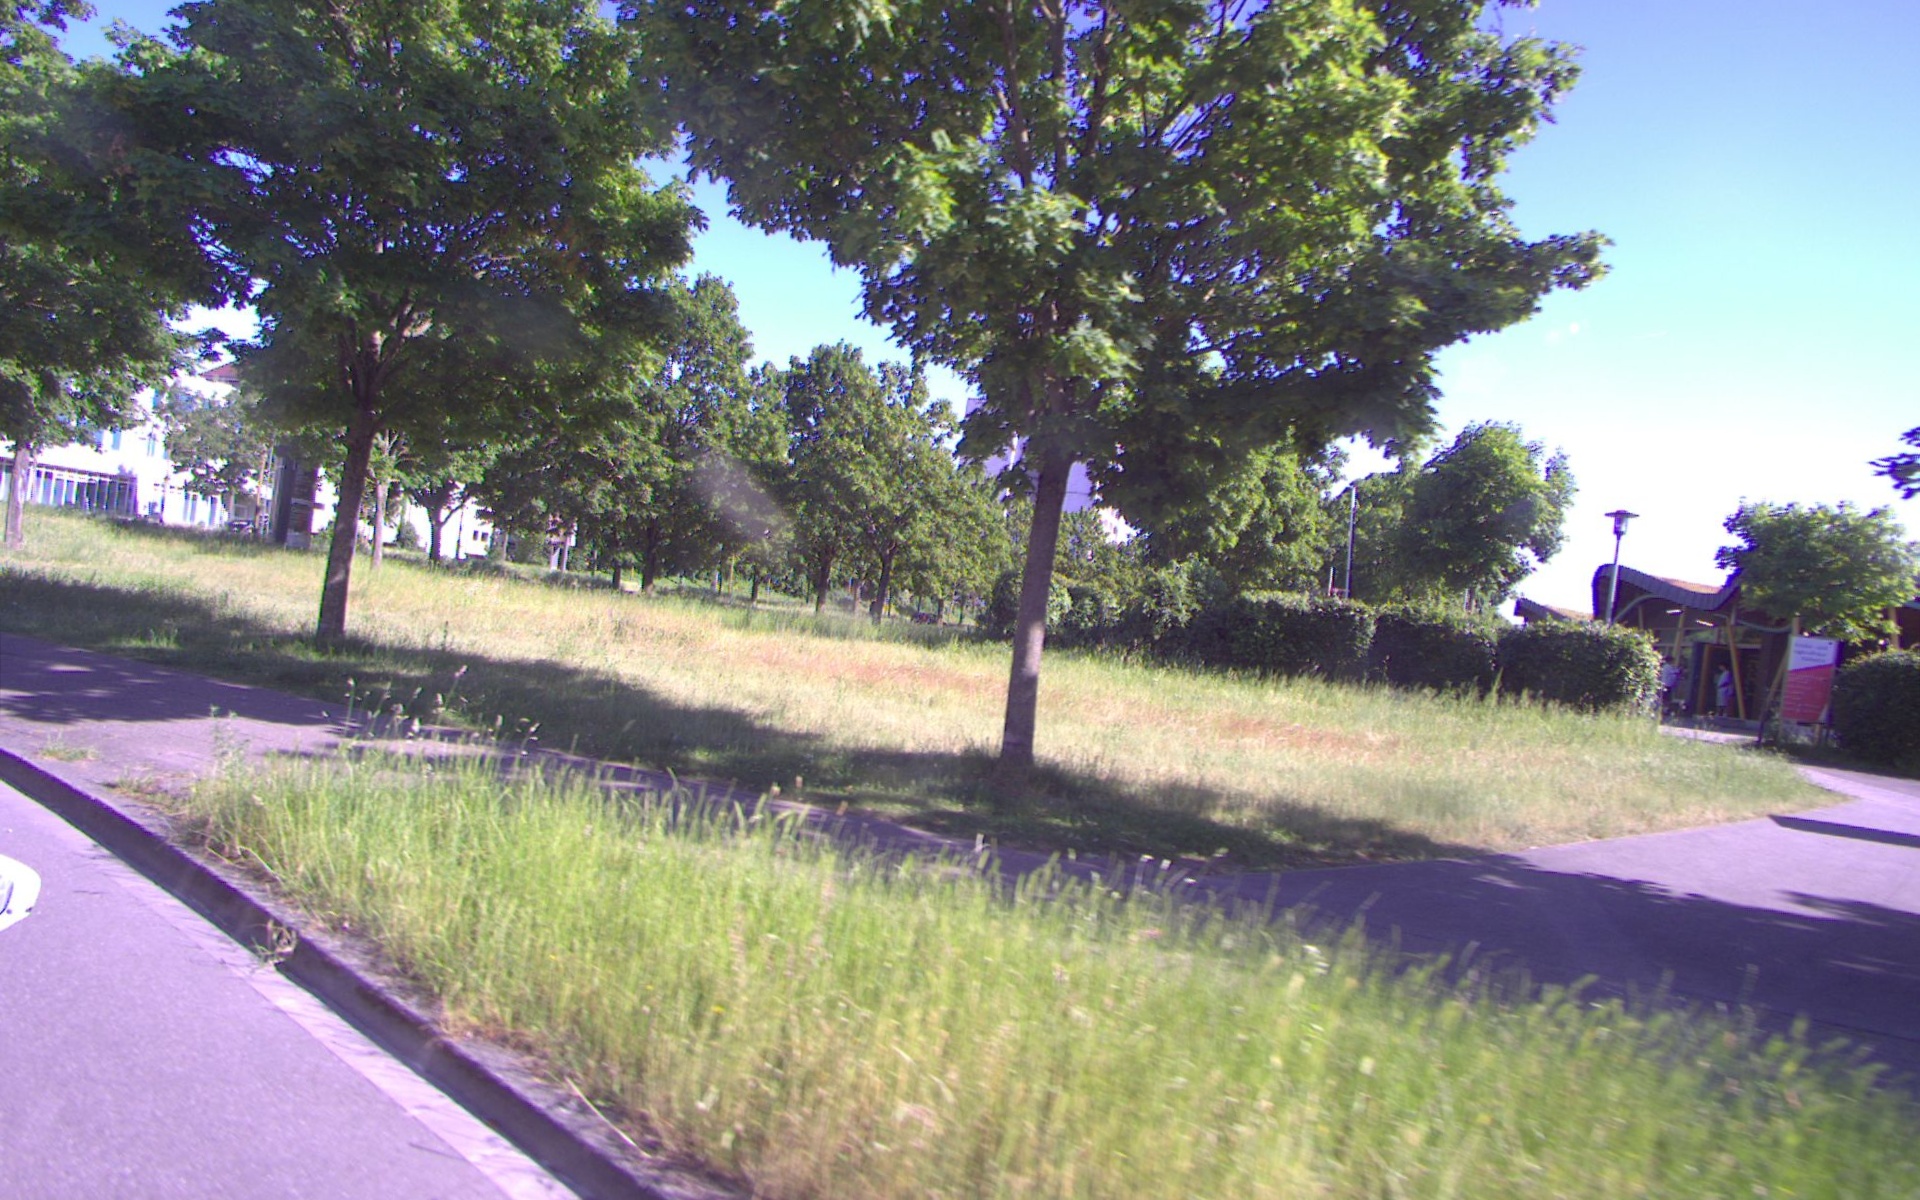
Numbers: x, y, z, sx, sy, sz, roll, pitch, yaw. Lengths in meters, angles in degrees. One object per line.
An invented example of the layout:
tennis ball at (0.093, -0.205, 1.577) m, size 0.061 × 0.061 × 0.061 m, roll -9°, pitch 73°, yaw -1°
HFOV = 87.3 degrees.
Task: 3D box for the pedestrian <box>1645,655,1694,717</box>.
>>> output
pedestrian at (22.040, 2.662, 31.275) m, size 0.846 × 1.800 × 0.813 m, roll 7°, pitch 0°, yaw 19°

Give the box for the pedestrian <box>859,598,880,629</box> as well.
pedestrian at (-5.424, 0.808, 60.479) m, size 0.726 × 1.747 × 0.888 m, roll 7°, pitch 0°, yaw 25°

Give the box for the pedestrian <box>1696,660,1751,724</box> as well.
pedestrian at (23.333, 2.794, 30.758) m, size 0.846 × 1.800 × 0.813 m, roll 7°, pitch 0°, yaw 5°

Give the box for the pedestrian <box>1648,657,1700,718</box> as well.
pedestrian at (22.797, 2.780, 32.122) m, size 0.799 × 1.800 × 0.861 m, roll 7°, pitch 0°, yaw -7°

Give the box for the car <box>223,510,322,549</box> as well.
car at (-42.187, -4.321, 61.804) m, size 1.966 × 1.629 × 4.509 m, roll 7°, pitch -1°, yaw 30°
